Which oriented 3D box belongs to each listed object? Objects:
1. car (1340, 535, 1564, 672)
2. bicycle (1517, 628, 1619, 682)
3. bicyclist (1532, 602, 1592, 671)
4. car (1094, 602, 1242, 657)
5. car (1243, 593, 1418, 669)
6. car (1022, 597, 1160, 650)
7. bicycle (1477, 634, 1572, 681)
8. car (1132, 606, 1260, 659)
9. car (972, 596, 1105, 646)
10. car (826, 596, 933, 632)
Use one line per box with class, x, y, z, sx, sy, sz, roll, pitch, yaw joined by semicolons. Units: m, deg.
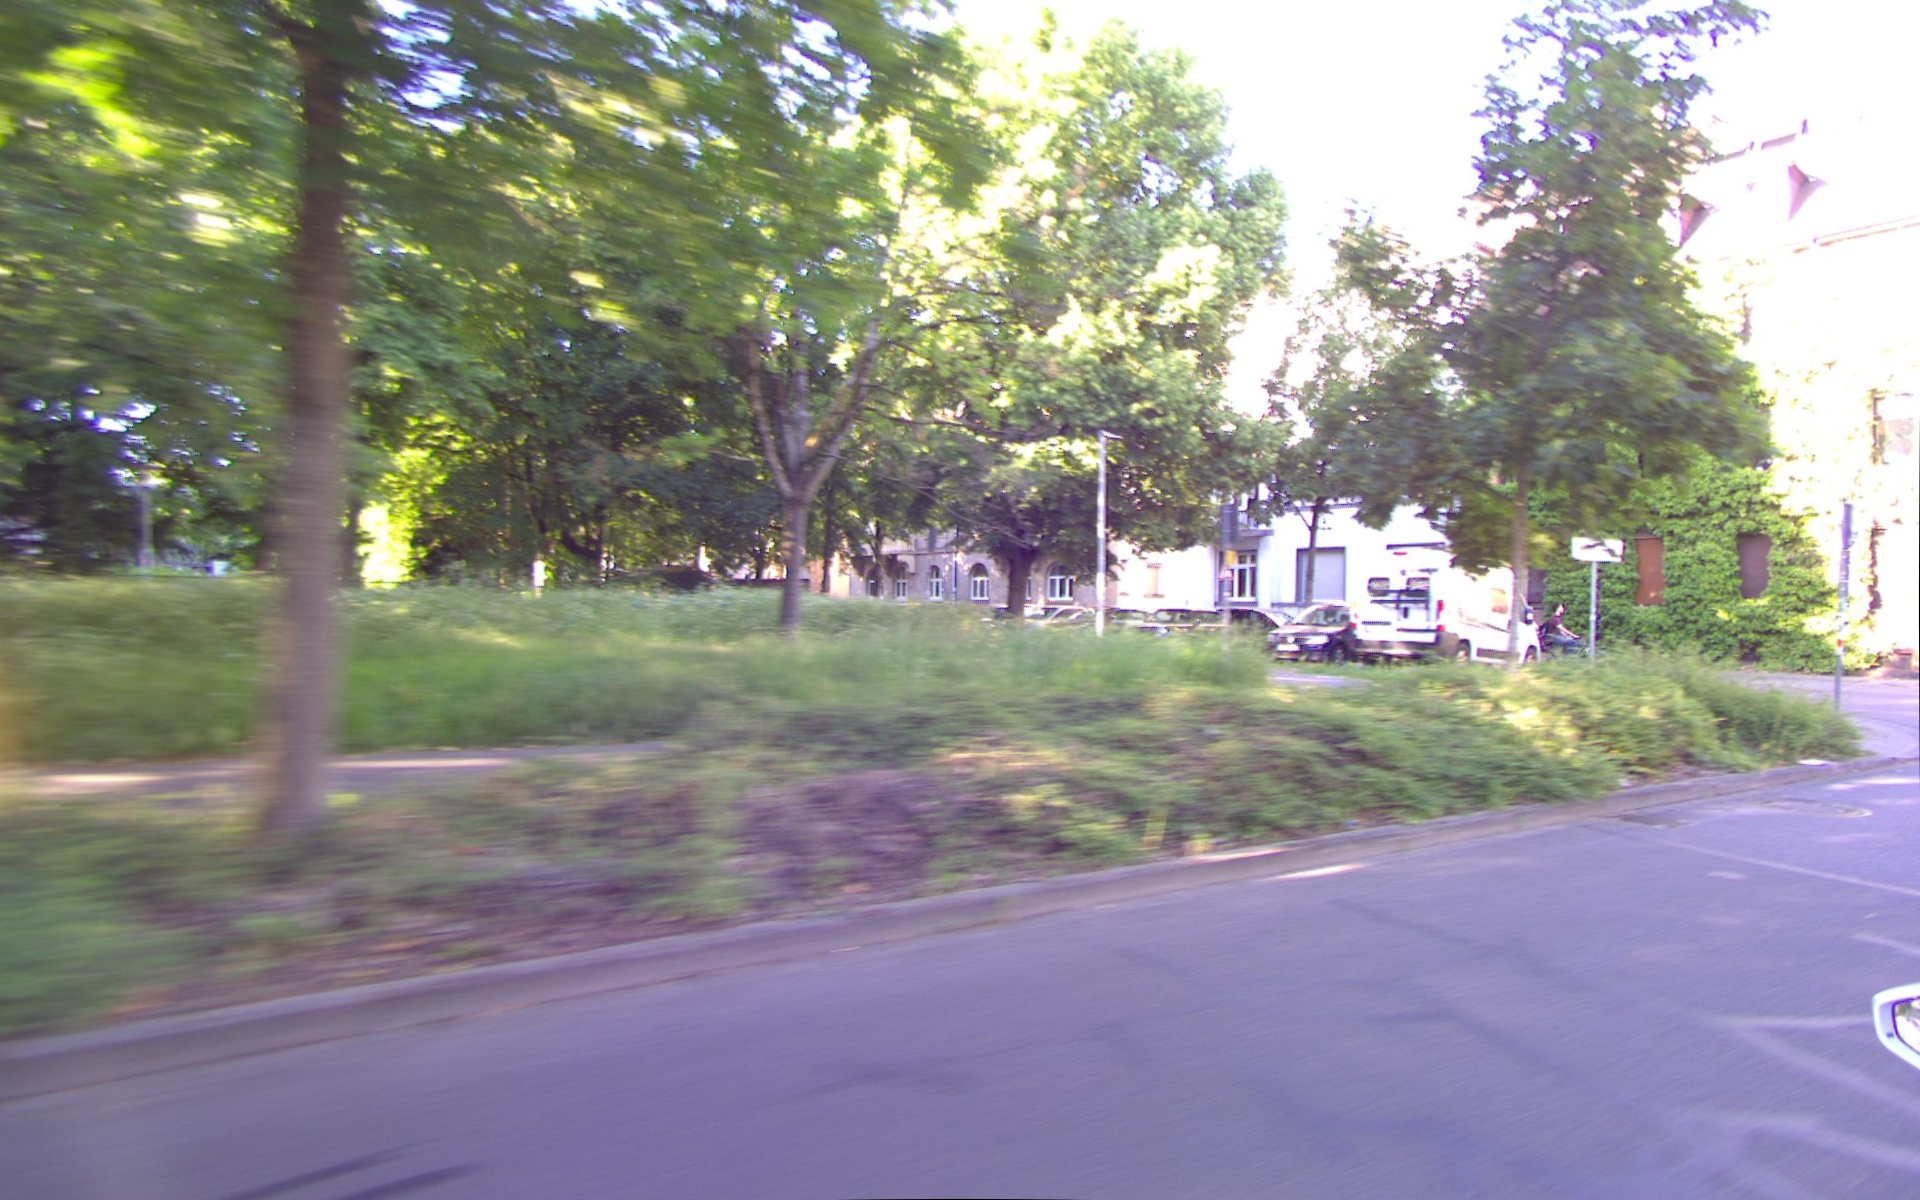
car;10.858;0.108;21.962;5.584;2.649;2.213;2;1;-39
bicycle;14.091;1.251;23.315;0.552;1.087;1.947;-2;3;-38
bicyclist;14.015;0.841;23.402;0.714;1.547;0.961;1;1;-38
car;5.729;0.801;27.522;3.848;1.360;1.956;2;0;-39
car;8.821;0.712;23.759;4.263;1.596;1.956;2;1;-39
car;3.888;0.680;29.567;3.848;1.461;1.956;1;-1;-39
bicycle;14.081;1.412;25.097;0.693;1.087;1.944;1;-2;-43
car;7.674;1.005;32.942;1.635;1.612;3.975;0;0;-38
car;2.477;0.657;31.332;3.848;1.396;1.956;2;0;-39
car;-3.114;0.546;39.178;3.848;1.273;1.765;2;0;-39
